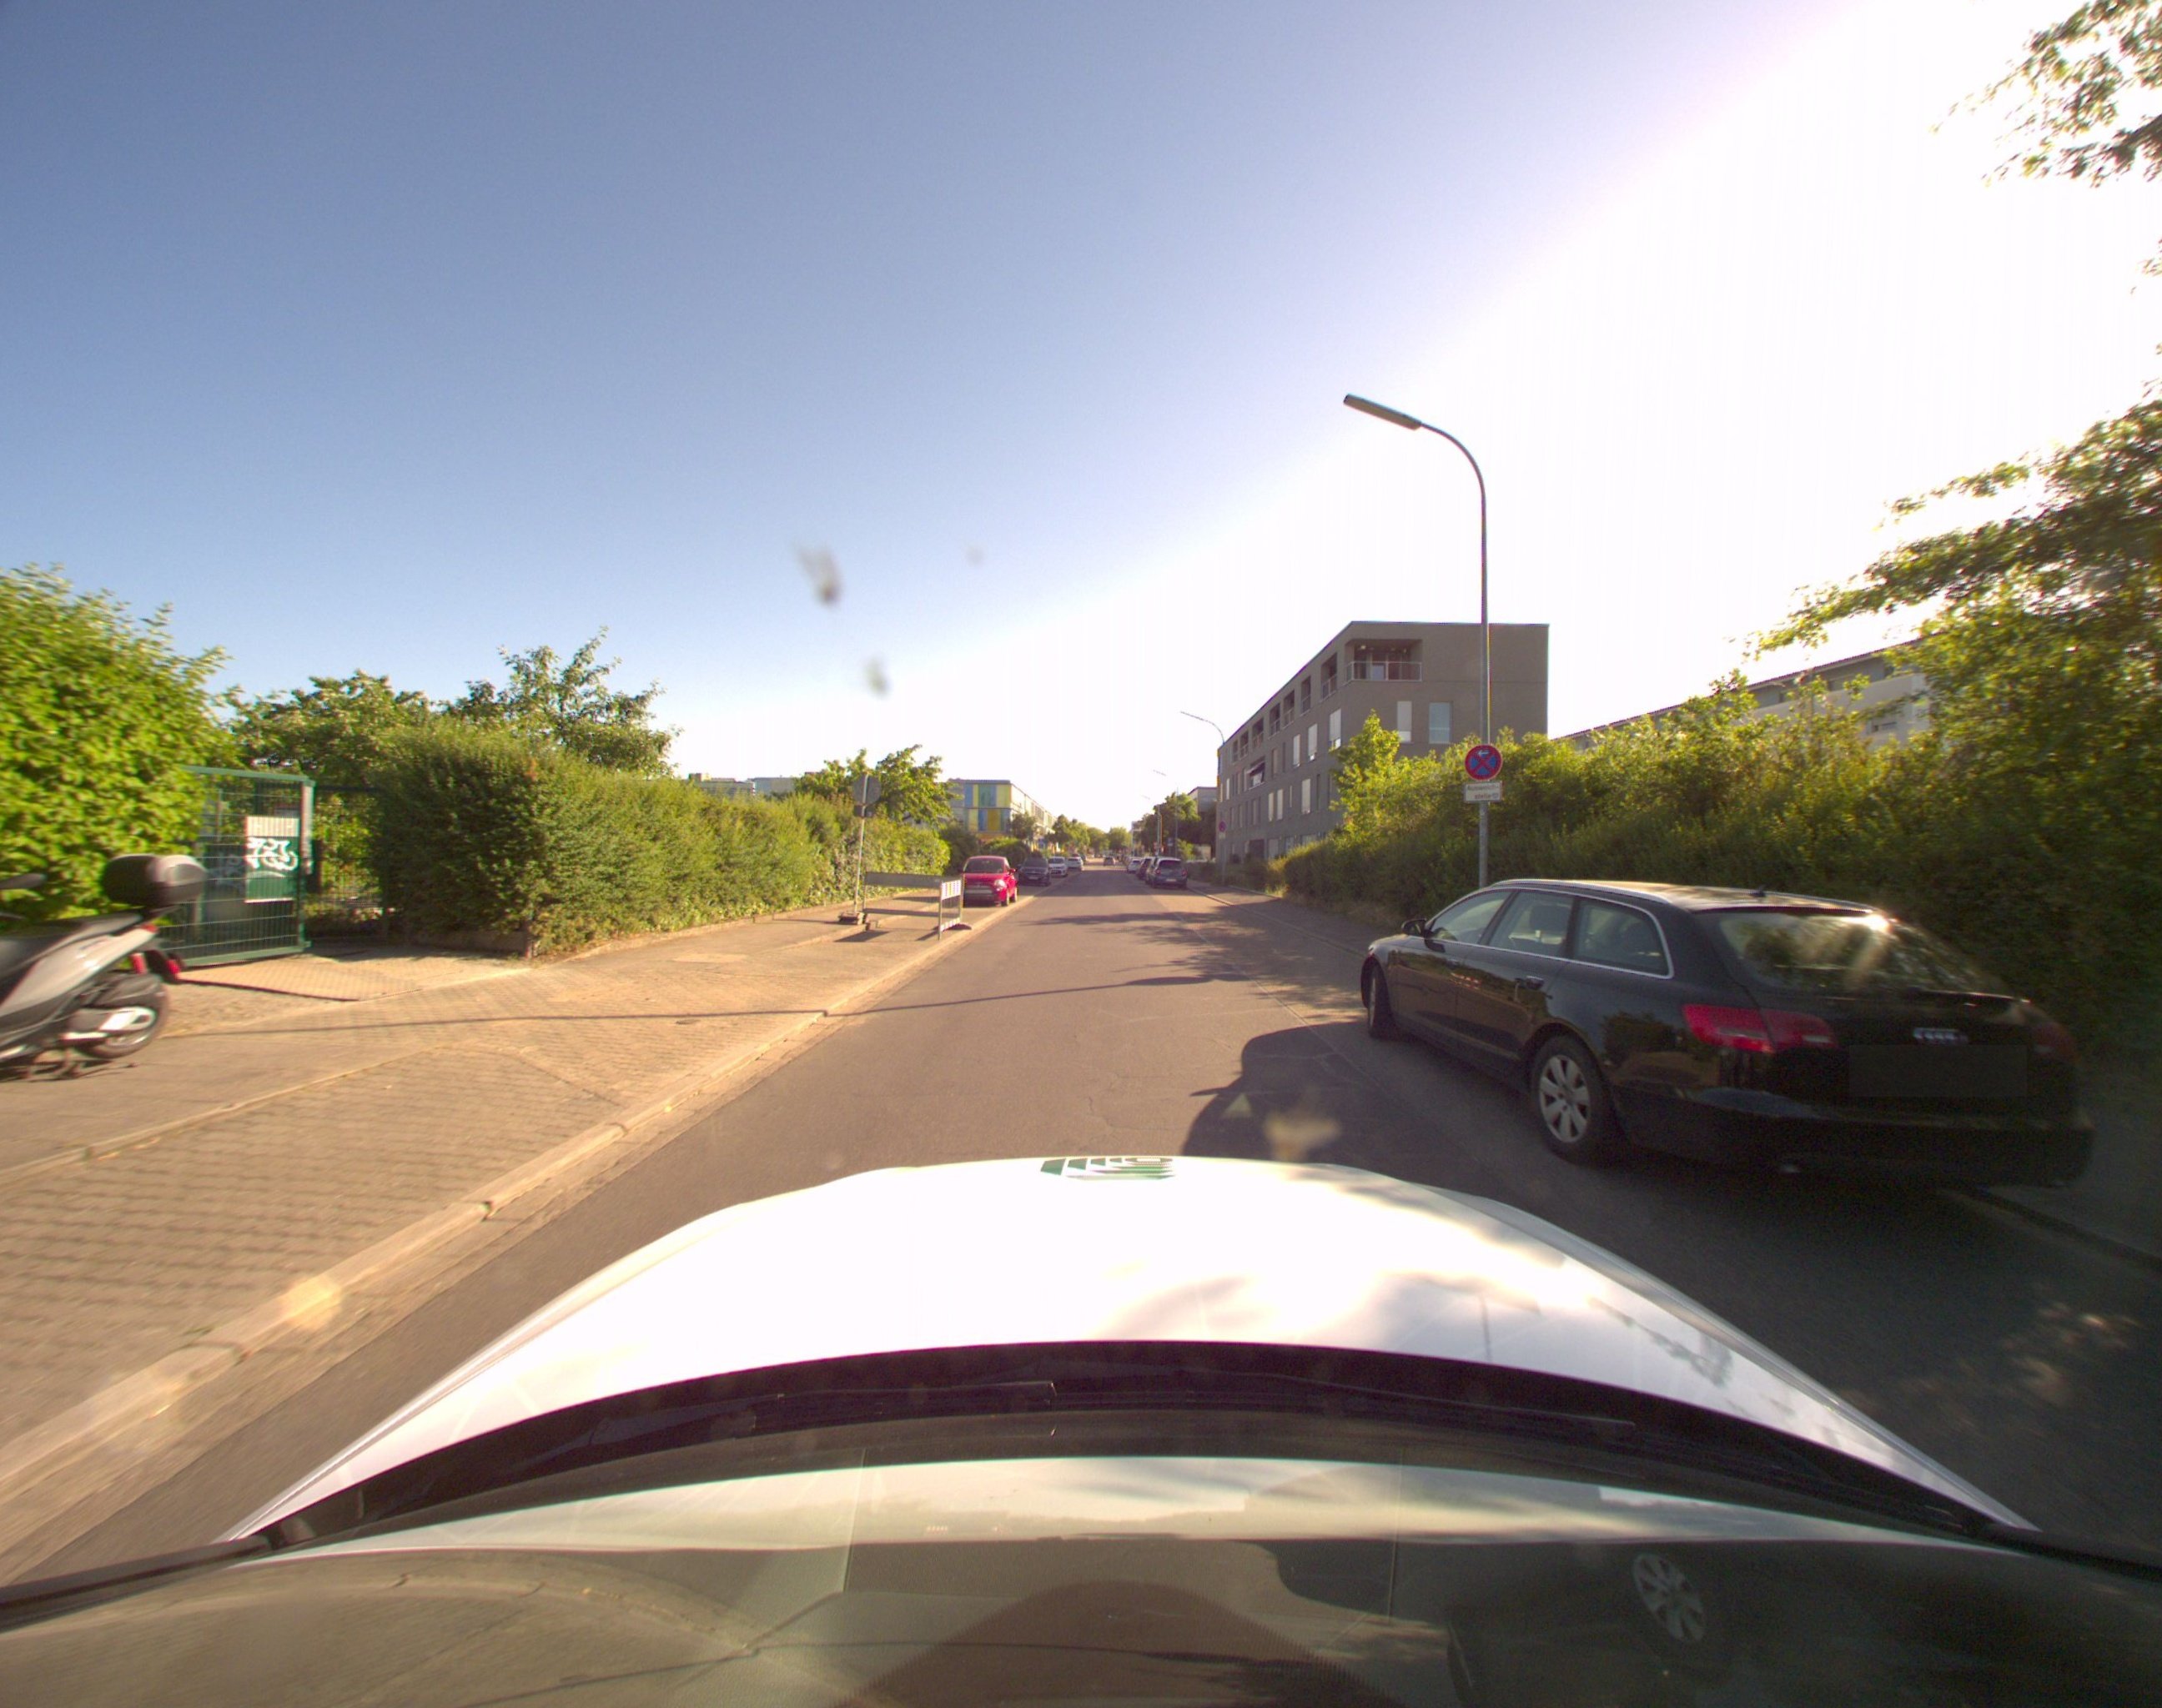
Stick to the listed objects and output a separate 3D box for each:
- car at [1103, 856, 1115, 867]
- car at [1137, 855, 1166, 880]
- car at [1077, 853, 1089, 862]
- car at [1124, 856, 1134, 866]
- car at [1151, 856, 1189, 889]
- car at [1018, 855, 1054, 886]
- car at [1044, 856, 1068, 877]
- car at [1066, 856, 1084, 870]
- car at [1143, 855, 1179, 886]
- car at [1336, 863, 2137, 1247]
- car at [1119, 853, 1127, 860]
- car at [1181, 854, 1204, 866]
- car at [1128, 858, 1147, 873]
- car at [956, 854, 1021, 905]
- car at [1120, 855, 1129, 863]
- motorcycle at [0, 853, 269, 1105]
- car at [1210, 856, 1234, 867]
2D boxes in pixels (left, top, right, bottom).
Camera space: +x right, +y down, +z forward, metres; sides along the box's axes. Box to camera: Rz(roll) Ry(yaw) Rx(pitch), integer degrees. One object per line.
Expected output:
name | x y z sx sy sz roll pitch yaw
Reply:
car | 4.202 1.103 121.013 1.683 1.549 3.614 2 0 1
car | 4.905 0.886 57.014 1.735 1.625 4.180 2 0 1
car | 0.388 0.630 149.531 1.845 1.563 4.141 2 0 6
car | 8.009 1.179 135.568 1.440 1.549 3.614 2 0 1
car | 4.470 0.918 41.408 1.616 1.526 3.904 3 0 3
car | -2.359 0.866 43.606 1.554 1.495 3.571 3 0 1
car | -1.855 0.900 60.650 1.554 1.495 3.759 0 0 1
car | -0.633 0.937 89.916 1.847 1.428 4.135 2 0 1
car | 4.579 0.907 46.948 1.670 1.608 4.179 3 0 1
car | 3.357 0.831 5.584 1.748 1.413 4.656 3 0 0
car | 9.082 0.603 176.984 1.440 1.549 3.614 2 0 1
car | 16.391 0.871 119.676 3.201 1.549 1.451 2 0 4
car | 5.602 1.127 80.951 1.735 1.428 4.135 2 0 1
car | -2.823 0.753 25.490 1.554 1.495 3.571 0 0 1
car | 8.080 0.919 151.580 1.440 1.549 3.614 2 0 1
motorcycle | -5.770 0.637 4.451 0.565 1.268 2.089 2 -1 -2
car | 19.271 1.049 111.393 3.201 1.460 1.451 2 0 4
